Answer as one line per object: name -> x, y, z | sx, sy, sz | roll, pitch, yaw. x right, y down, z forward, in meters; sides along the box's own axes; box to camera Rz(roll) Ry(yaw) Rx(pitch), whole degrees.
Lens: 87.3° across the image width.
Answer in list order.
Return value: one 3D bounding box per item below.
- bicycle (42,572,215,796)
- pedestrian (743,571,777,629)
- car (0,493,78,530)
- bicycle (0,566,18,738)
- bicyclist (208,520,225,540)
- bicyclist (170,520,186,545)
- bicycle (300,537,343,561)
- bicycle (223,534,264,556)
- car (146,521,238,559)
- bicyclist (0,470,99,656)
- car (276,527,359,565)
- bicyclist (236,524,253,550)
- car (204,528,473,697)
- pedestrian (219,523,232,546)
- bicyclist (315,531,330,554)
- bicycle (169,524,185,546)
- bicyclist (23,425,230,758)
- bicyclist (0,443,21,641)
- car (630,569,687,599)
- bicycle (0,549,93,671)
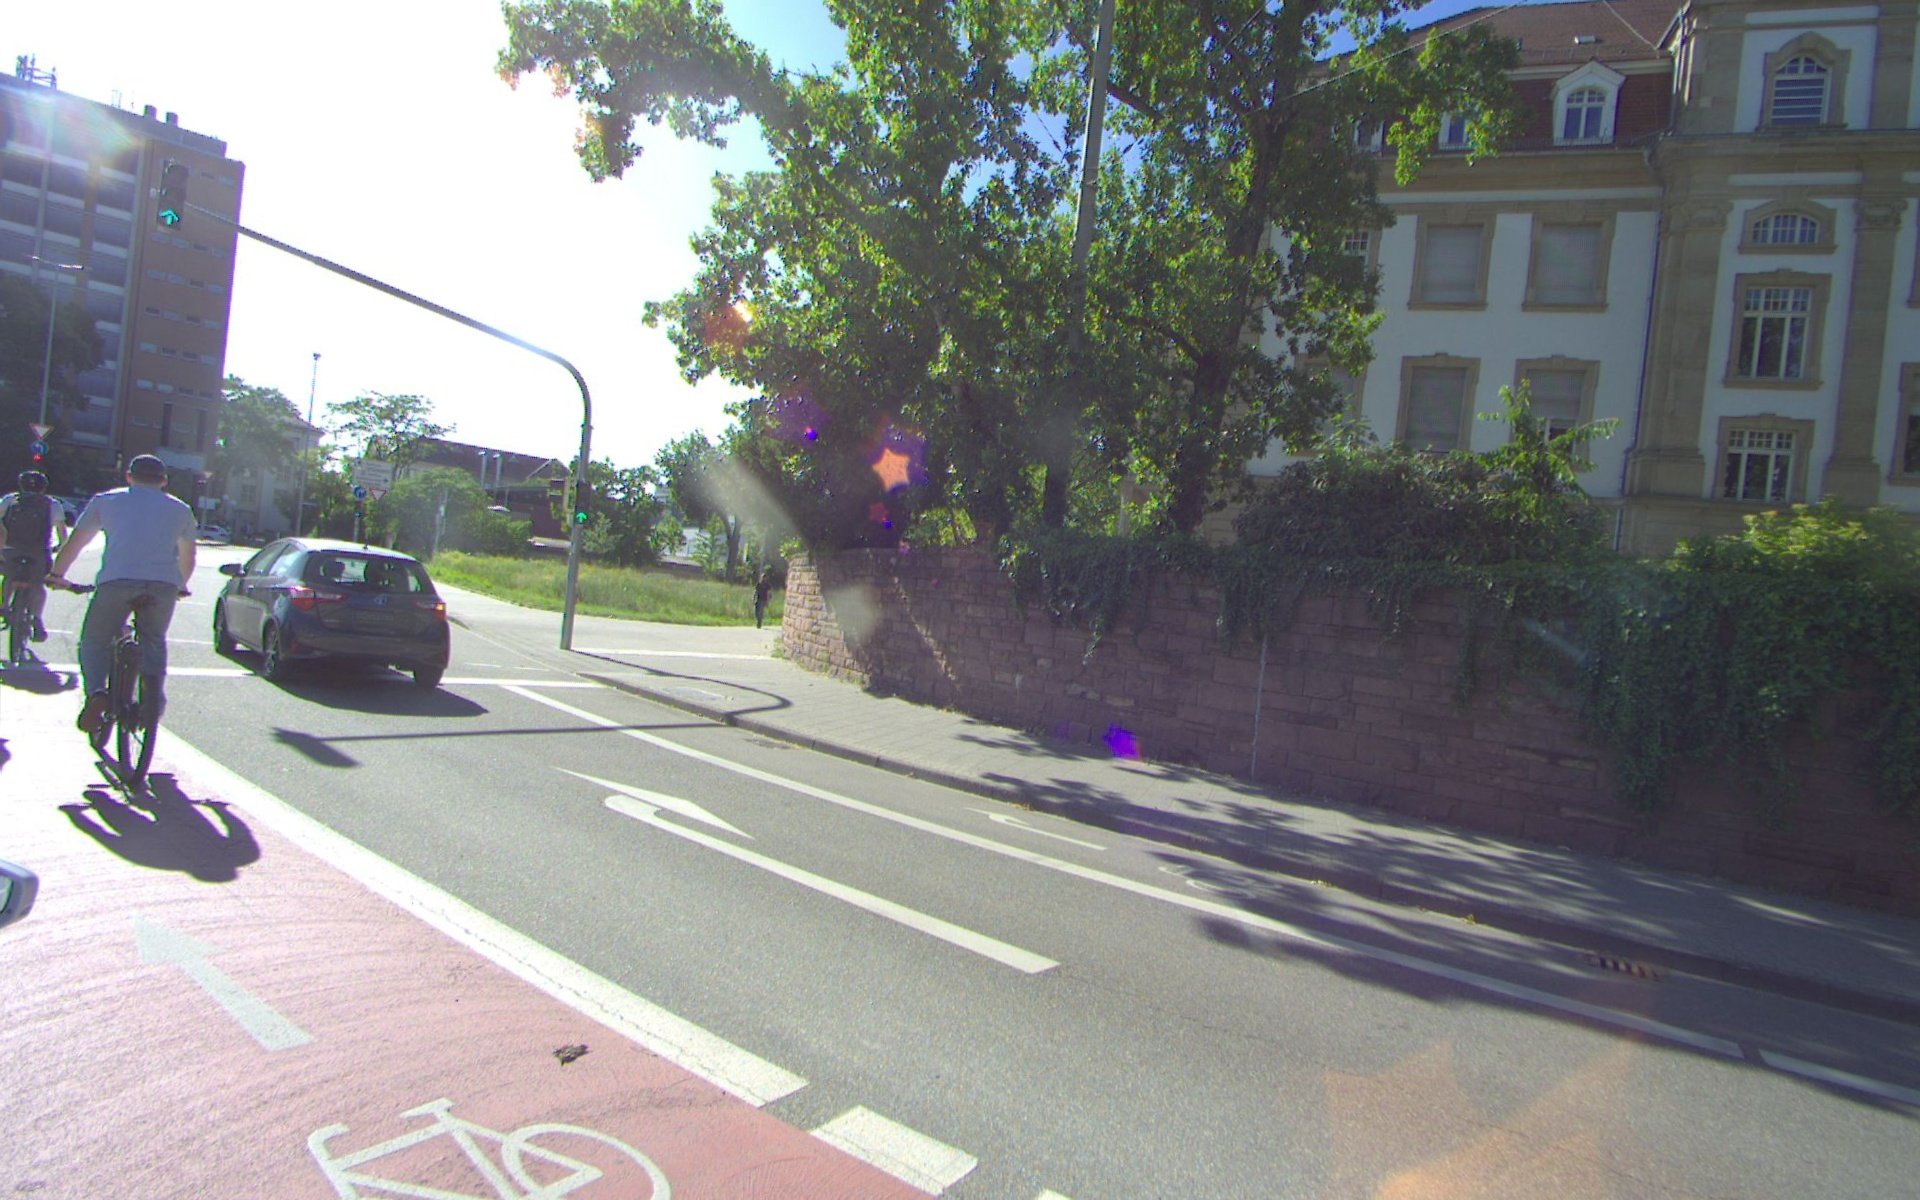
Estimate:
bicycle -> -5.073, 0.448, 6.092 | 0.609, 1.090, 1.808 | 7, -1, -43
pedestrian -> -6.776, 0.004, 34.165 | 0.746, 1.855, 1.049 | 6, 1, 3
car -> -49.514, -4.733, 53.237 | 1.789, 1.589, 4.248 | 5, 1, 2
bicycle -> -6.966, 0.238, 6.715 | 1.862, 1.060, 0.662 | 7, 0, 39
bicyclist -> -59.281, -5.614, 80.190 | 0.609, 1.462, 0.819 | 7, 0, 0
bicyclist -> -62.991, -5.435, 81.019 | 0.877, 1.818, 1.149 | 7, -2, -38
bicycle -> -51.318, -4.065, 80.850 | 2.784, 1.559, 0.877 | 7, -2, -34
bicycle -> -56.171, -4.279, 78.913 | 2.431, 1.386, 0.845 | 7, -2, -29
car -> -53.713, -4.200, 70.461 | 4.606, 1.922, 1.990 | 7, -2, -24
bicyclist -> -8.943, -0.364, 9.731 | 0.720, 1.645, 1.042 | 8, -1, -44
car -> -45.619, -3.799, 71.549 | 4.611, 2.037, 1.987 | 7, -2, -28
bicyclist -> -56.106, -4.955, 78.912 | 0.849, 1.868, 0.846 | 6, -1, -28
car -> -7.327, 0.089, 11.725 | 3.612, 1.559, 1.752 | 5, -2, 45
pedestrian -> -56.155, -4.990, 76.905 | 0.554, 1.689, 0.474 | 6, -1, -22
bicyclist -> -51.257, -4.630, 80.852 | 0.852, 1.712, 0.877 | 7, -1, -33
bicycle -> -63.022, -5.216, 81.018 | 0.877, 1.559, 2.782 | 7, -2, -38
bicyclist -> -4.996, -0.038, 6.016 | 0.747, 1.797, 1.002 | 7, 0, -44
bicyclist -> -6.855, -0.199, 6.664 | 0.991, 1.768, 0.663 | 7, 0, 38
car -> -25.907, -1.343, 86.491 | 4.311, 2.037, 1.988 | 7, -2, -27
bicycle -> -8.936, 0.059, 9.667 | 0.721, 0.971, 1.860 | 8, -1, -44
